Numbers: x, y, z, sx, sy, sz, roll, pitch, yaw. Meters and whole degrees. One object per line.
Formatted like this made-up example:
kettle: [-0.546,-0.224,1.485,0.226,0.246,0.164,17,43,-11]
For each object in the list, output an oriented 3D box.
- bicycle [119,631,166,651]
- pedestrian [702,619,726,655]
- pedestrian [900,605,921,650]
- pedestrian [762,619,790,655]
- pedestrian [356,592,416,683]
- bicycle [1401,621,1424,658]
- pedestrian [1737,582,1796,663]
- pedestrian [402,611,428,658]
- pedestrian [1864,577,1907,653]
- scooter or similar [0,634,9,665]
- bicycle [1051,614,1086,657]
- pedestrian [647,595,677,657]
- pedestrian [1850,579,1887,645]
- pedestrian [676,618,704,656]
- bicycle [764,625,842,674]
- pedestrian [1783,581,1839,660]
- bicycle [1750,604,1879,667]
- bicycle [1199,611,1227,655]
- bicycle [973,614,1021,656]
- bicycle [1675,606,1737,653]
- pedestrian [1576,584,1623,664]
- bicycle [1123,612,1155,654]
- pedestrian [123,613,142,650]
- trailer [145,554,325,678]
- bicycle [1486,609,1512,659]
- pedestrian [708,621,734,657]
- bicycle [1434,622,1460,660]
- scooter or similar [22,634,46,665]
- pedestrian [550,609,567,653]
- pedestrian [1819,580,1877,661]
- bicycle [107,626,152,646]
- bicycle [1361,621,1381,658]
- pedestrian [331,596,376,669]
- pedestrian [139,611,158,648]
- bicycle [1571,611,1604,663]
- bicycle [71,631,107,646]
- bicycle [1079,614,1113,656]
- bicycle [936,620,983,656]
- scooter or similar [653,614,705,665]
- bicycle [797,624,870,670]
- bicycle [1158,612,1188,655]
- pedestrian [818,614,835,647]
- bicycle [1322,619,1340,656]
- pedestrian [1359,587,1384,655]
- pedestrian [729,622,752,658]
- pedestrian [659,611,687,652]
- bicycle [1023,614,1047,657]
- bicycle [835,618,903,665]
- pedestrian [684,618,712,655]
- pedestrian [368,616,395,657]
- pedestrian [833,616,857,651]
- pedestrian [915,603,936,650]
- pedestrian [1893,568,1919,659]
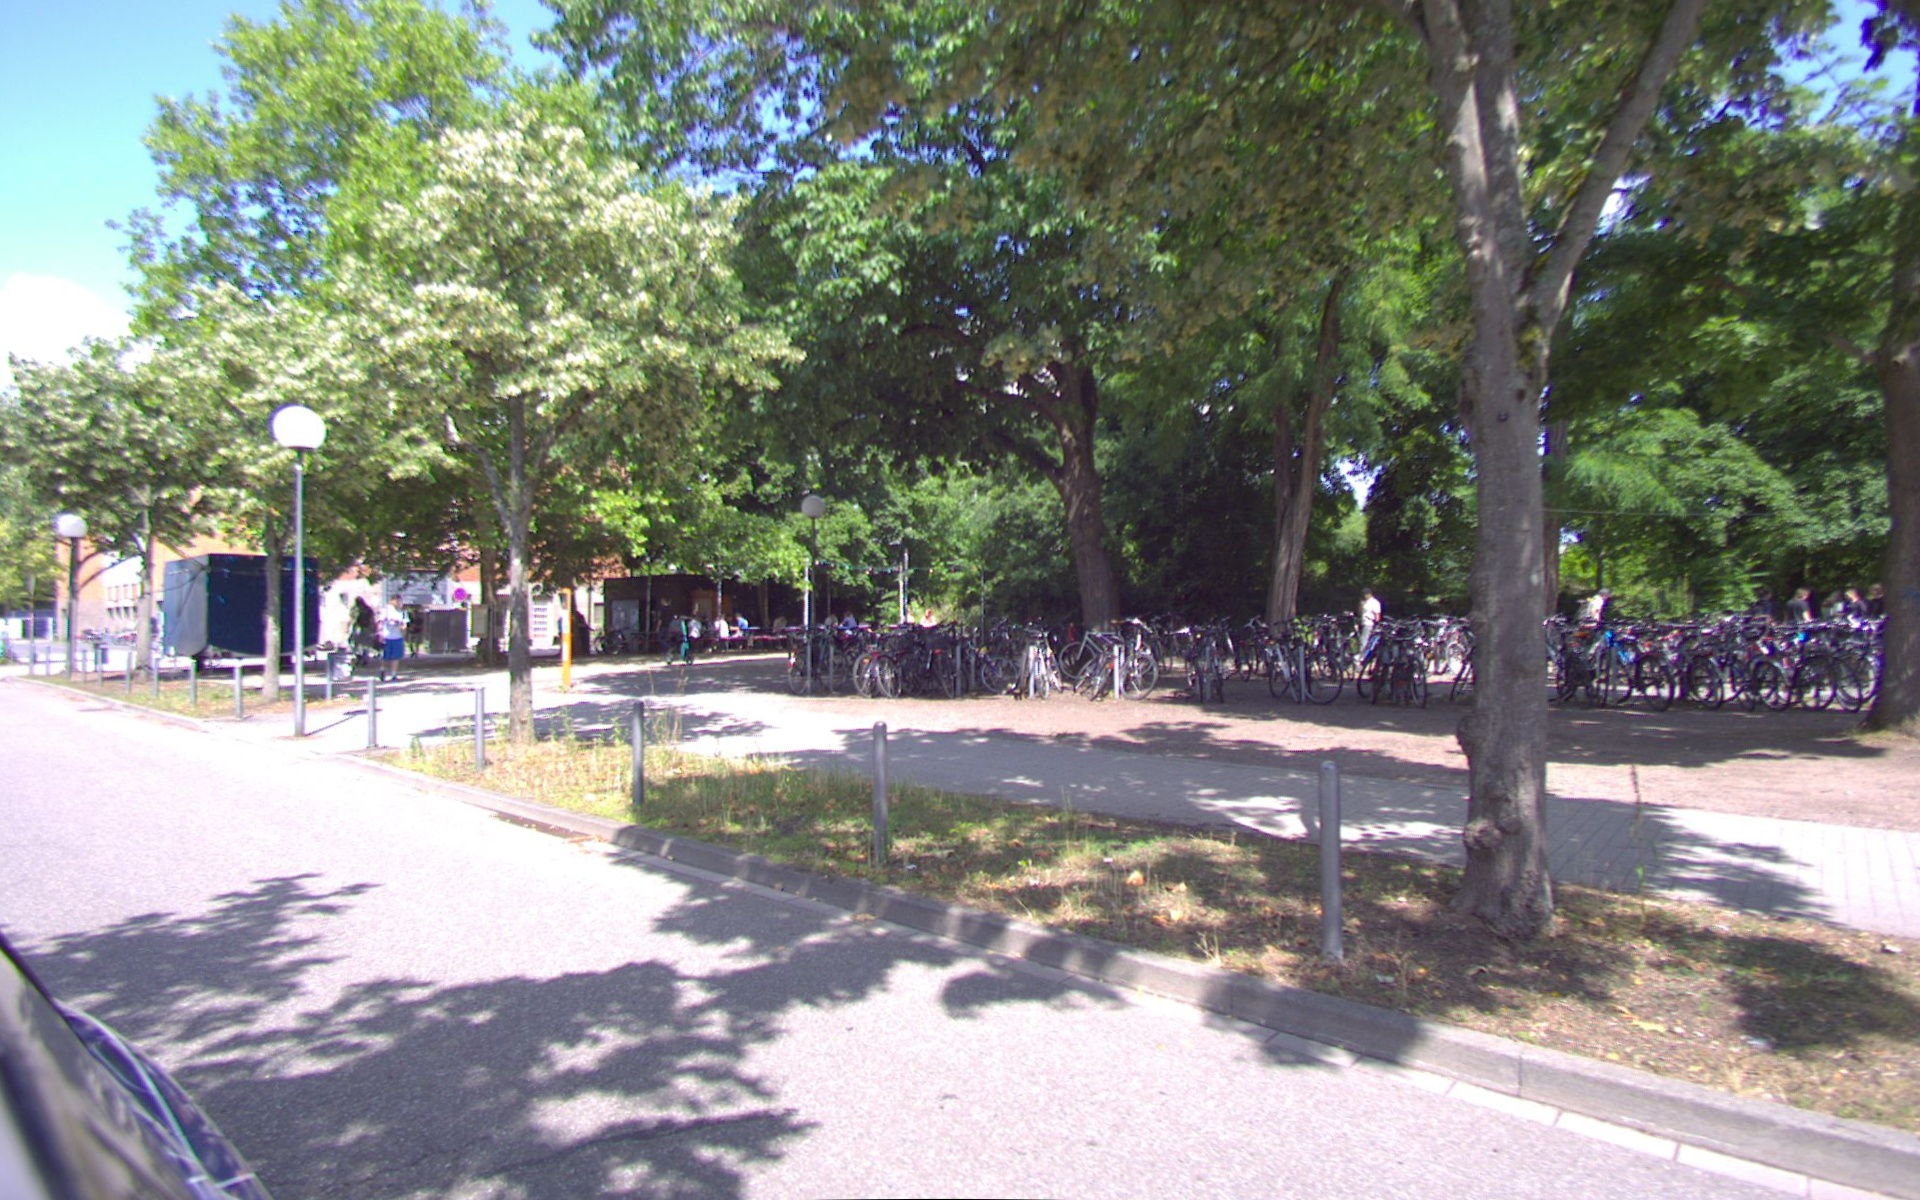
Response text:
bicycle: [-47.089,2.368,58.327,0.666,1.134,2.001,-2,-2,40]
pedestrian: [-9.104,1.359,37.459,0.693,1.281,0.554,-2,-1,42]
pedestrian: [-1.611,0.888,33.004,0.458,1.433,0.501,-2,-1,31]
pedestrian: [-6.499,1.300,35.715,0.764,1.260,0.565,-2,-1,30]
pedestrian: [-11.943,0.765,21.057,0.986,1.844,0.791,-2,-1,41]
bicycle: [11.625,1.007,26.036,0.416,0.900,1.755,-1,-1,21]
pedestrian: [17.194,0.472,21.584,0.721,1.683,0.631,-1,-1,6]
pedestrian: [-19.937,1.265,37.018,0.643,1.678,0.623,-2,-1,42]
pedestrian: [21.281,0.343,23.276,0.539,1.726,0.411,-1,-1,11]
scooter or similar: [-38.949,1.978,40.255,1.548,1.234,0.572,0,-1,-22]
bicycle: [2.994,0.952,27.790,0.592,1.099,1.946,0,0,18]
pedestrian: [-9.119,0.788,30.955,0.805,1.862,0.524,-2,-1,42]
pedestrian: [21.409,0.287,23.852,0.482,1.538,0.408,-1,-1,11]
pedestrian: [-9.174,1.244,34.407,0.734,1.243,0.594,-3,-1,7]
bicycle: [-3.522,1.098,22.838,0.537,1.022,1.783,-2,-1,43]
pedestrian: [18.689,0.448,22.240,0.695,1.683,0.555,-1,-1,6]
bicycle: [16.220,0.640,19.292,0.726,1.117,2.300,-1,0,8]
bicycle: [6.733,0.860,26.863,0.592,1.099,1.946,0,0,18]
bicycle: [1.063,0.966,28.602,0.594,1.099,1.940,0,0,28]
bicycle: [17.547,0.673,23.847,0.502,1.043,2.050,-1,-1,17]
pedestrian: [13.754,0.506,21.772,0.623,1.683,0.577,-1,-1,6]
bicycle: [4.957,0.898,27.964,0.592,1.099,1.946,0,0,18]
pedestrian: [-40.283,1.528,49.250,0.805,1.775,0.557,-1,-1,40]
trailer: [-20.130,0.436,27.975,6.263,3.049,2.668,-2,-1,41]
bicycle: [13.506,0.835,25.370,0.421,1.216,1.782,-1,-1,24]
pedestrian: [-9.185,1.493,38.859,0.778,1.333,0.680,-2,-2,42]
bicycle: [12.384,1.022,25.765,0.416,0.900,1.755,-1,-1,21]
scooter or similar: [-36.059,1.926,39.415,0.556,1.158,1.352,0,-1,-37]
pedestrian: [-15.937,1.211,40.192,0.441,1.723,0.531,-2,-1,-3]
pedestrian: [18.855,0.440,21.499,0.685,1.683,0.555,-1,-1,6]
bicycle: [-48.685,2.086,59.339,0.592,1.134,2.000,-2,-2,41]
bicycle: [10.647,1.001,26.252,0.416,0.900,1.755,-1,-1,21]
pedestrian: [-16.877,0.888,28.172,0.906,1.969,0.894,-2,1,-39]
pedestrian: [-39.885,1.457,49.751,0.917,1.793,0.570,-1,-1,40]
bicycle: [15.313,0.879,24.716,0.421,1.216,1.782,-1,-1,24]
bicycle: [-62.954,2.776,73.163,0.541,1.038,1.931,-2,-2,40]
bicycle: [3.737,0.935,27.655,0.592,1.099,1.946,0,0,18]
bicycle: [-0.002,1.064,28.981,0.544,0.949,1.866,0,0,27]
scooter or similar: [-7.168,1.004,25.774,1.241,1.255,0.691,-1,-1,41]
bicycle: [-3.017,1.109,24.263,0.537,1.022,1.783,-2,-1,43]
bicycle: [5.802,0.881,27.500,0.592,1.099,1.946,0,0,18]
pedestrian: [-4.679,1.059,35.473,0.505,1.148,0.333,-2,-1,30]
bicycle: [9.695,0.973,26.441,0.416,0.900,1.755,-1,-1,21]
pedestrian: [9.929,0.495,24.414,0.461,1.626,0.346,-2,-1,41]
pedestrian: [-8.324,1.512,38.325,0.559,1.333,0.638,-2,-2,42]
pedestrian: [-9.892,1.094,34.897,0.734,1.379,0.594,-3,-1,7]
bicycle: [2.043,0.953,27.680,0.589,1.099,1.957,0,0,2]
bicycle: [-2.077,0.944,23.435,0.535,1.011,1.947,-2,-1,30]
pedestrian: [-9.057,1.248,35.019,0.734,1.243,0.594,-3,-1,7]
pedestrian: [-21.769,1.363,38.094,0.499,1.521,0.735,-2,-1,42]
pedestrian: [-4.006,1.164,35.173,0.728,1.203,0.388,-2,-1,32]
pedestrian: [-1.160,0.885,33.766,0.472,1.534,0.502,-2,-1,30]
pedestrian: [21.017,0.286,22.094,0.673,1.948,0.621,-1,-1,6]
